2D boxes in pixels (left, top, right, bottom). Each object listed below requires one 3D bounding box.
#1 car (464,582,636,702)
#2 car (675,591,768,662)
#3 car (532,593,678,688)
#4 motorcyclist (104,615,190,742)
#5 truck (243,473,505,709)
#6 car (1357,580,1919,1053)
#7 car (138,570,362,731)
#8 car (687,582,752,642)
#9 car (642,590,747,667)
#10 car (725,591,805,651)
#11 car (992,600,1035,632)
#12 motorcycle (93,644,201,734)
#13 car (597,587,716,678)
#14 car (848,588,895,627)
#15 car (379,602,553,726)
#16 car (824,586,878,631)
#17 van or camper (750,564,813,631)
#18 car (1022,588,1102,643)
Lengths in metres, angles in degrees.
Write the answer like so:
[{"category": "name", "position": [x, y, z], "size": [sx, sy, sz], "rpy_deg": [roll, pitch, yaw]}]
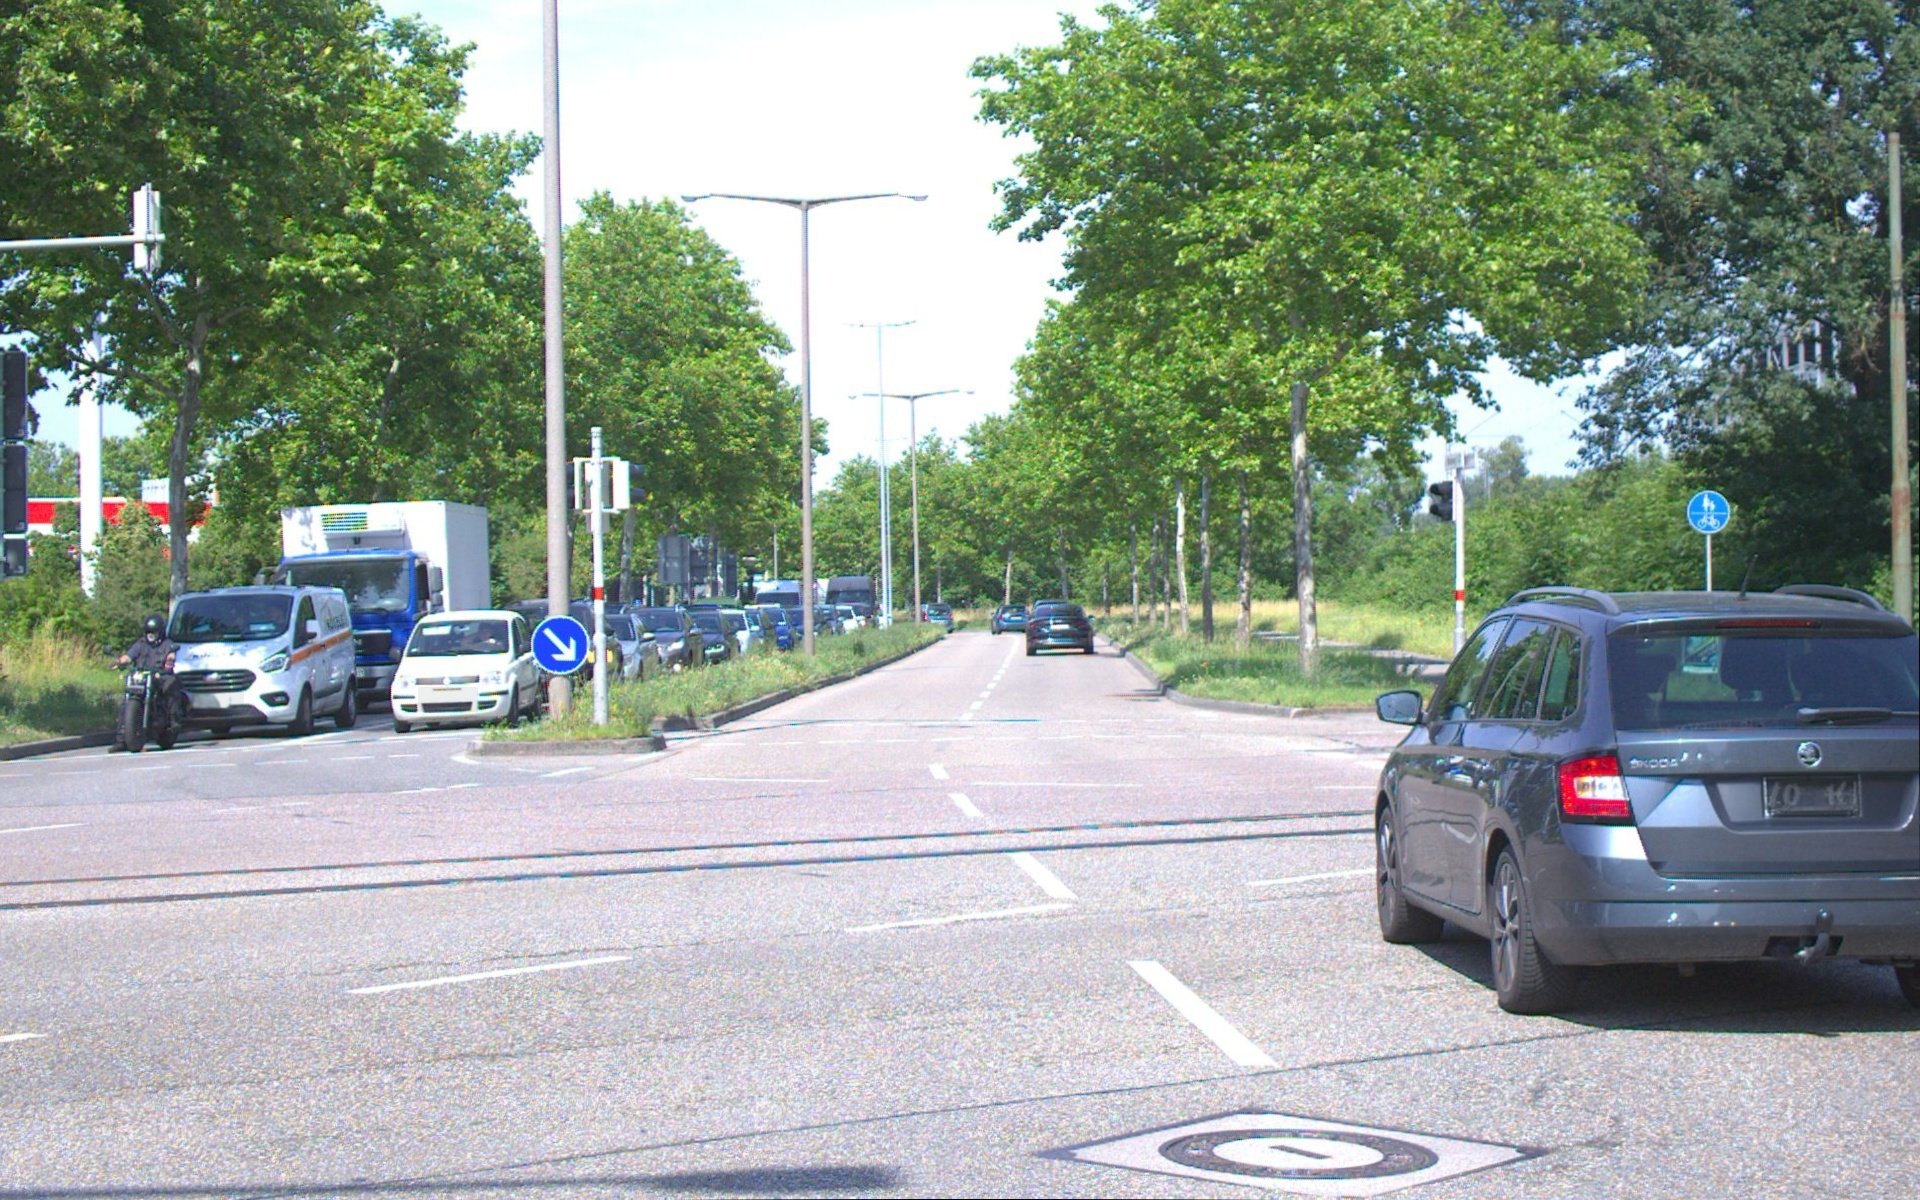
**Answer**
[{"category": "car", "position": [-5.979, 0.618, 50.605], "size": [1.820, 1.641, 4.693], "rpy_deg": [-2, -1, 2]}, {"category": "car", "position": [-5.317, 0.574, 77.048], "size": [1.689, 1.467, 3.814], "rpy_deg": [-2, 0, 2]}, {"category": "car", "position": [-5.896, 0.646, 57.492], "size": [1.797, 1.463, 4.522], "rpy_deg": [-2, 0, 2]}, {"category": "motorcyclist", "position": [-9.586, 0.915, 40.561], "size": [0.743, 1.465, 0.987], "rpy_deg": [0, 0, 2]}, {"category": "truck", "position": [-9.339, -0.175, 55.512], "size": [2.804, 3.459, 6.691], "rpy_deg": [-2, 1, 1]}, {"category": "car", "position": [2.617, 0.667, 12.741], "size": [1.674, 1.448, 4.036], "rpy_deg": [1, 0, -2]}, {"category": "car", "position": [-9.317, 0.614, 45.518], "size": [1.976, 1.992, 5.032], "rpy_deg": [0, 0, -1]}, {"category": "car", "position": [-7.746, 0.395, 111.018], "size": [1.689, 1.852, 4.036], "rpy_deg": [-2, 0, 2]}, {"category": "car", "position": [-5.482, 0.568, 71.414], "size": [1.689, 1.468, 4.218], "rpy_deg": [-2, 0, 2]}, {"category": "car", "position": [-5.070, 0.529, 89.742], "size": [1.784, 1.484, 4.211], "rpy_deg": [-2, 0, 0]}, {"category": "car", "position": [2.607, 0.787, 167.931], "size": [1.908, 1.458, 4.583], "rpy_deg": [0, 1, -2]}, {"category": "motorcycle", "position": [-9.555, 1.034, 40.466], "size": [0.688, 0.988, 2.217], "rpy_deg": [0, 0, 2]}, {"category": "car", "position": [-5.619, 0.578, 64.044], "size": [1.689, 1.581, 4.240], "rpy_deg": [-2, 0, 2]}, {"category": "car", "position": [-3.610, 0.297, 140.417], "size": [1.689, 1.525, 3.814], "rpy_deg": [-2, 0, 2]}, {"category": "car", "position": [-6.381, 0.797, 44.747], "size": [1.593, 1.472, 3.729], "rpy_deg": [-2, 0, 2]}, {"category": "car", "position": [-3.906, 0.297, 123.812], "size": [1.689, 1.505, 3.814], "rpy_deg": [-2, 0, 2]}, {"category": "van or camper", "position": [-7.144, -0.123, 138.222], "size": [2.015, 2.579, 5.517], "rpy_deg": [-2, 0, 2]}, {"category": "car", "position": [2.774, 0.402, 94.243], "size": [1.908, 1.458, 4.622], "rpy_deg": [0, 0, -2]}]
